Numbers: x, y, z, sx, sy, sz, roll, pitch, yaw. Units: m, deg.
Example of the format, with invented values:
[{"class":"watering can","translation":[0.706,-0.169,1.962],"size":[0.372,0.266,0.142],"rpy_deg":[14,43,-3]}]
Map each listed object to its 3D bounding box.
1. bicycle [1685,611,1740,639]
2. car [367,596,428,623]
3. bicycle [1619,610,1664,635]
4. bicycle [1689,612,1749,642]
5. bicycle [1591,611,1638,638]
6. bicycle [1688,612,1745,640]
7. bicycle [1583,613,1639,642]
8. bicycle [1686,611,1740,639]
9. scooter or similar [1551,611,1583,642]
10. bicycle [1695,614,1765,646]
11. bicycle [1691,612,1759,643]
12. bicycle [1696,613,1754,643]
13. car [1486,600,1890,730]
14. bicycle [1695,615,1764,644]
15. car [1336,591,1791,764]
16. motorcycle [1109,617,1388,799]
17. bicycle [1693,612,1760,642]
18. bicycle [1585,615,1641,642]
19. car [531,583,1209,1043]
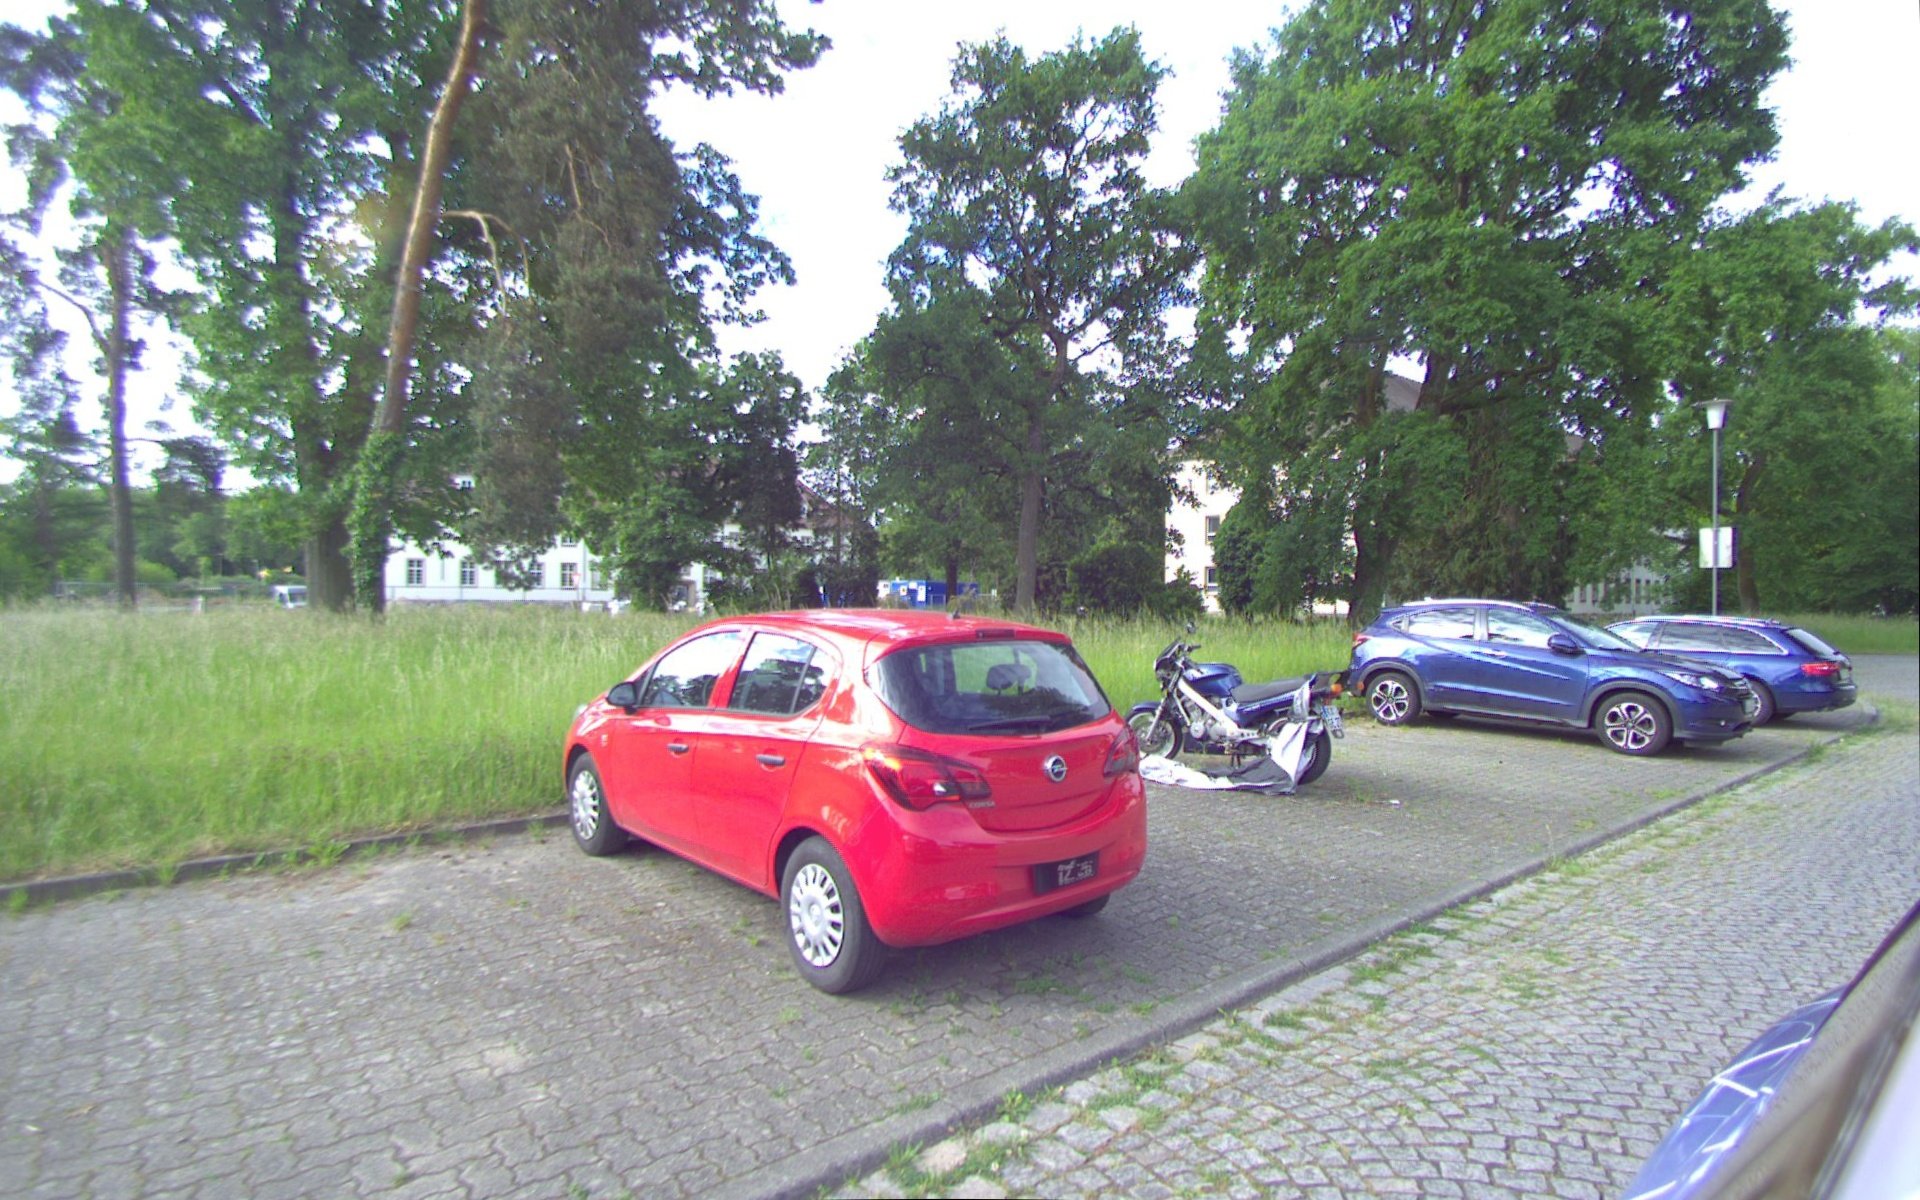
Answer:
[{"class":"bicycle","translation":[32.275,1.057,43.406],"size":[1.809,1.101,0.548],"rpy_deg":[1,2,29]},{"class":"car","translation":[-43.476,0.758,78.149],"size":[5.812,2.039,2.449],"rpy_deg":[-1,-1,42]},{"class":"bicycle","translation":[29.374,0.966,43.636],"size":[1.550,1.047,0.472],"rpy_deg":[1,0,26]},{"class":"bicycle","translation":[30.390,1.072,40.533],"size":[1.849,1.101,0.515],"rpy_deg":[1,2,29]},{"class":"bicycle","translation":[27.379,1.027,42.361],"size":[1.546,1.102,0.559],"rpy_deg":[1,0,20]},{"class":"bicycle","translation":[31.446,1.065,42.092],"size":[1.792,1.101,0.548],"rpy_deg":[1,2,29]},{"class":"bicycle","translation":[26.046,1.082,40.505],"size":[1.792,1.101,0.475],"rpy_deg":[1,2,23]},{"class":"bicycle","translation":[31.804,1.063,42.778],"size":[1.735,1.101,0.548],"rpy_deg":[1,2,29]},{"class":"scooter or similar","translation":[24.615,1.071,41.026],"size":[0.378,1.210,1.063],"rpy_deg":[1,0,-37]},{"class":"bicycle","translation":[28.353,1.089,37.302],"size":[1.999,1.101,0.474],"rpy_deg":[1,2,29]},{"class":"bicycle","translation":[29.197,1.054,38.669],"size":[1.999,1.101,0.474],"rpy_deg":[1,2,29]},{"class":"bicycle","translation":[30.071,1.076,39.808],"size":[1.773,1.101,0.474],"rpy_deg":[1,2,29]},{"class":"car","translation":[10.568,0.824,15.038],"size":[1.860,1.483,4.519],"rpy_deg":[1,1,-36]},{"class":"bicycle","translation":[28.640,1.093,37.694],"size":[1.999,1.022,0.474],"rpy_deg":[1,2,29]},{"class":"car","translation":[6.954,0.744,12.043],"size":[1.862,1.593,4.272],"rpy_deg":[1,1,-40]},{"class":"motorcycle","translation":[2.364,0.823,8.578],"size":[0.596,1.291,2.265],"rpy_deg":[1,0,-45]},{"class":"bicycle","translation":[29.629,1.038,39.130],"size":[1.999,1.101,0.474],"rpy_deg":[1,2,29]},{"class":"bicycle","translation":[26.408,1.147,40.952],"size":[1.835,1.002,0.453],"rpy_deg":[1,0,23]},{"class":"car","translation":[-0.780,0.704,5.459],"size":[1.708,1.524,3.846],"rpy_deg":[1,1,-41]}]
